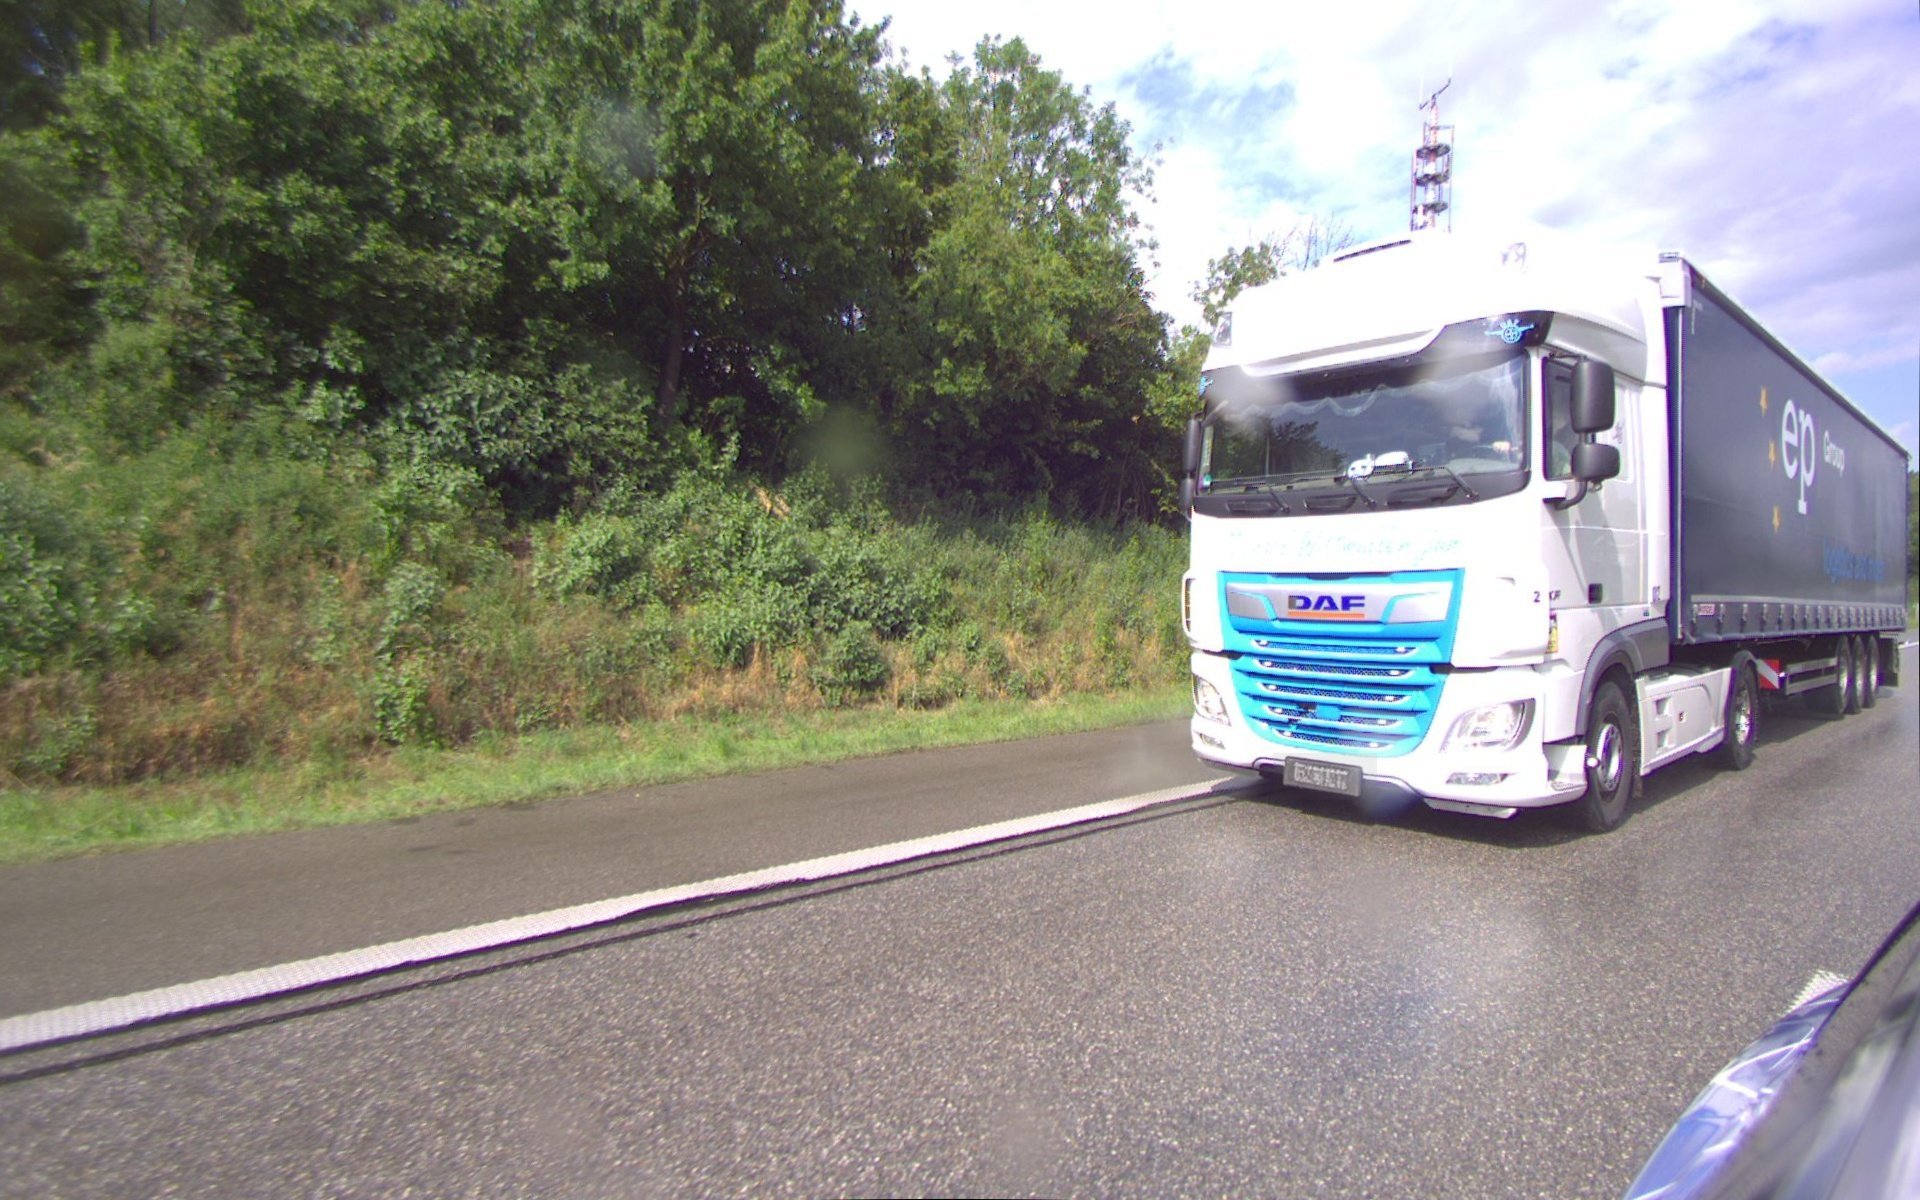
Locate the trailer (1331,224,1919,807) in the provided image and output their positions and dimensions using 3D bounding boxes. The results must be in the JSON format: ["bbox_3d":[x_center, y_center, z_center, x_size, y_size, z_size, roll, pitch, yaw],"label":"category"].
[{"bbox_3d":[9.358,-0.632,12.595,13.820,4.046,2.638,0,0,-41],"label":"trailer"}]

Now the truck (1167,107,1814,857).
[{"bbox_3d":[5.058,-0.665,8.816,7.163,4.046,2.611,0,0,-41],"label":"truck"}]
